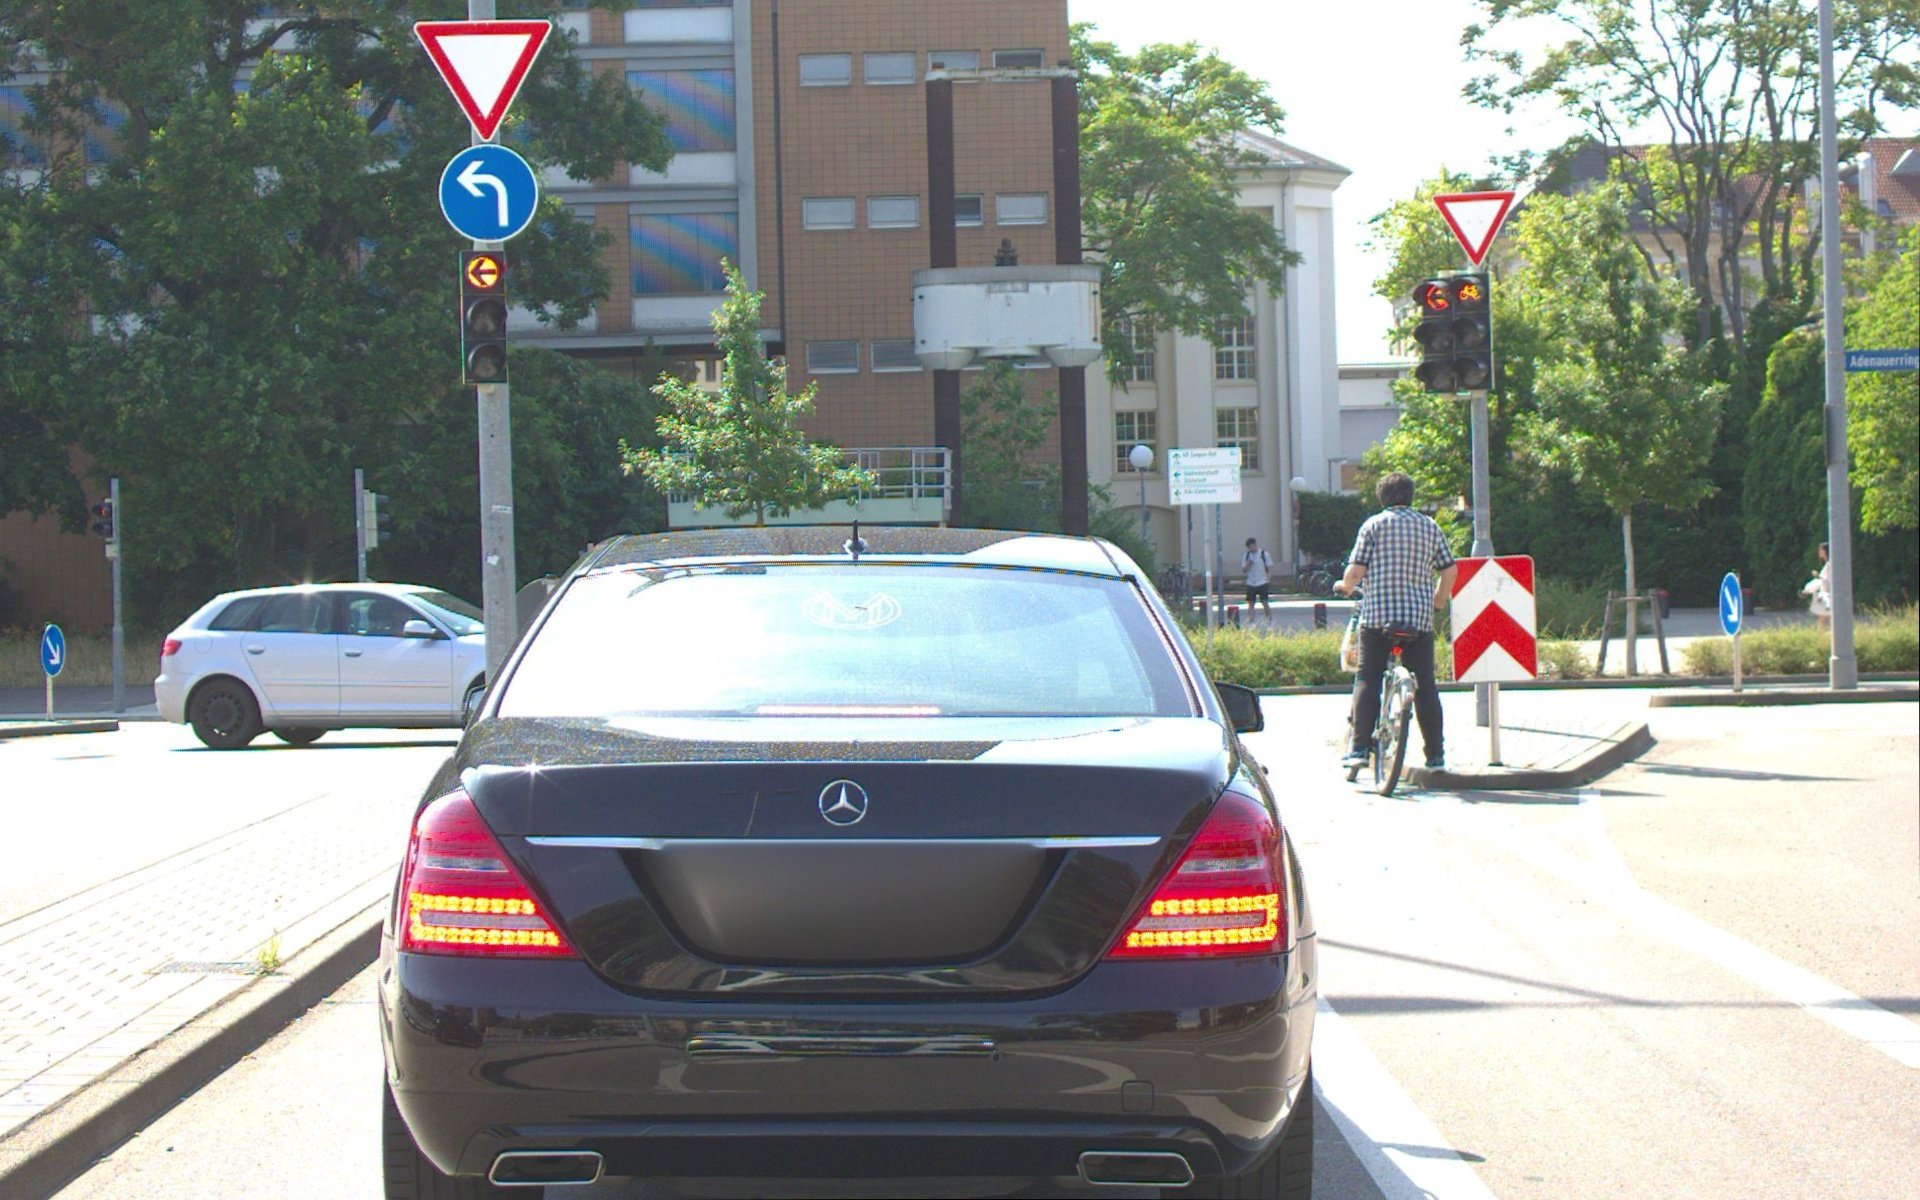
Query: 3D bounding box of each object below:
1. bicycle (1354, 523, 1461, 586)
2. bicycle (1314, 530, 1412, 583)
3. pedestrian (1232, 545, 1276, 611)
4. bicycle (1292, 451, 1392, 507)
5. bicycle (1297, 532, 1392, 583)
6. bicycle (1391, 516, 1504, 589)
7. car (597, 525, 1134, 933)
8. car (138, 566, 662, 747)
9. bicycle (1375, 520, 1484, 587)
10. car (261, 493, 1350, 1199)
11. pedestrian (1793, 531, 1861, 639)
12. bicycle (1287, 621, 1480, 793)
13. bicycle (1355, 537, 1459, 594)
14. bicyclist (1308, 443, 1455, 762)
[{"bbox_3d":[12.529,-1.281,96.330,2.823,1.653,0.842,-2,2,-1],"label":"bicycle"},{"bbox_3d":[12.258,-1.323,104.547,2.823,1.495,0.842,-2,1,-1],"label":"bicycle"},{"bbox_3d":[5.487,-0.406,64.130,0.793,1.209,0.757,1,0,6],"label":"pedestrian"},{"bbox_3d":[11.376,-3.592,102.455,2.823,1.553,0.842,-2,1,-1],"label":"bicycle"},{"bbox_3d":[11.899,-1.328,106.435,2.823,1.475,0.841,-2,1,0],"label":"bicycle"},{"bbox_3d":[12.974,-1.269,91.523,2.823,1.830,0.842,-2,1,-1],"label":"bicycle"},{"bbox_3d":[-0.375,0.465,14.890,1.993,1.503,4.000,1,1,-1],"label":"car"},{"bbox_3d":[-4.836,0.484,29.805,4.161,1.415,1.583,-2,1,14],"label":"car"},{"bbox_3d":[12.802,-1.267,93.783,2.823,1.738,0.842,-2,1,-1],"label":"bicycle"},{"bbox_3d":[-0.203,0.563,8.242,1.859,1.525,4.713,0,1,2],"label":"car"},{"bbox_3d":[12.911,-0.224,51.210,0.811,1.574,0.692,-2,0,2],"label":"pedestrian"},{"bbox_3d":[2.513,0.619,20.630,0.692,0.943,1.959,1,1,-7],"label":"bicycle"},{"bbox_3d":[12.781,-0.993,98.372,2.823,1.532,0.842,-2,1,-1],"label":"bicycle"},{"bbox_3d":[2.517,0.010,20.593,0.685,1.872,0.860,0,0,-7],"label":"bicyclist"}]
